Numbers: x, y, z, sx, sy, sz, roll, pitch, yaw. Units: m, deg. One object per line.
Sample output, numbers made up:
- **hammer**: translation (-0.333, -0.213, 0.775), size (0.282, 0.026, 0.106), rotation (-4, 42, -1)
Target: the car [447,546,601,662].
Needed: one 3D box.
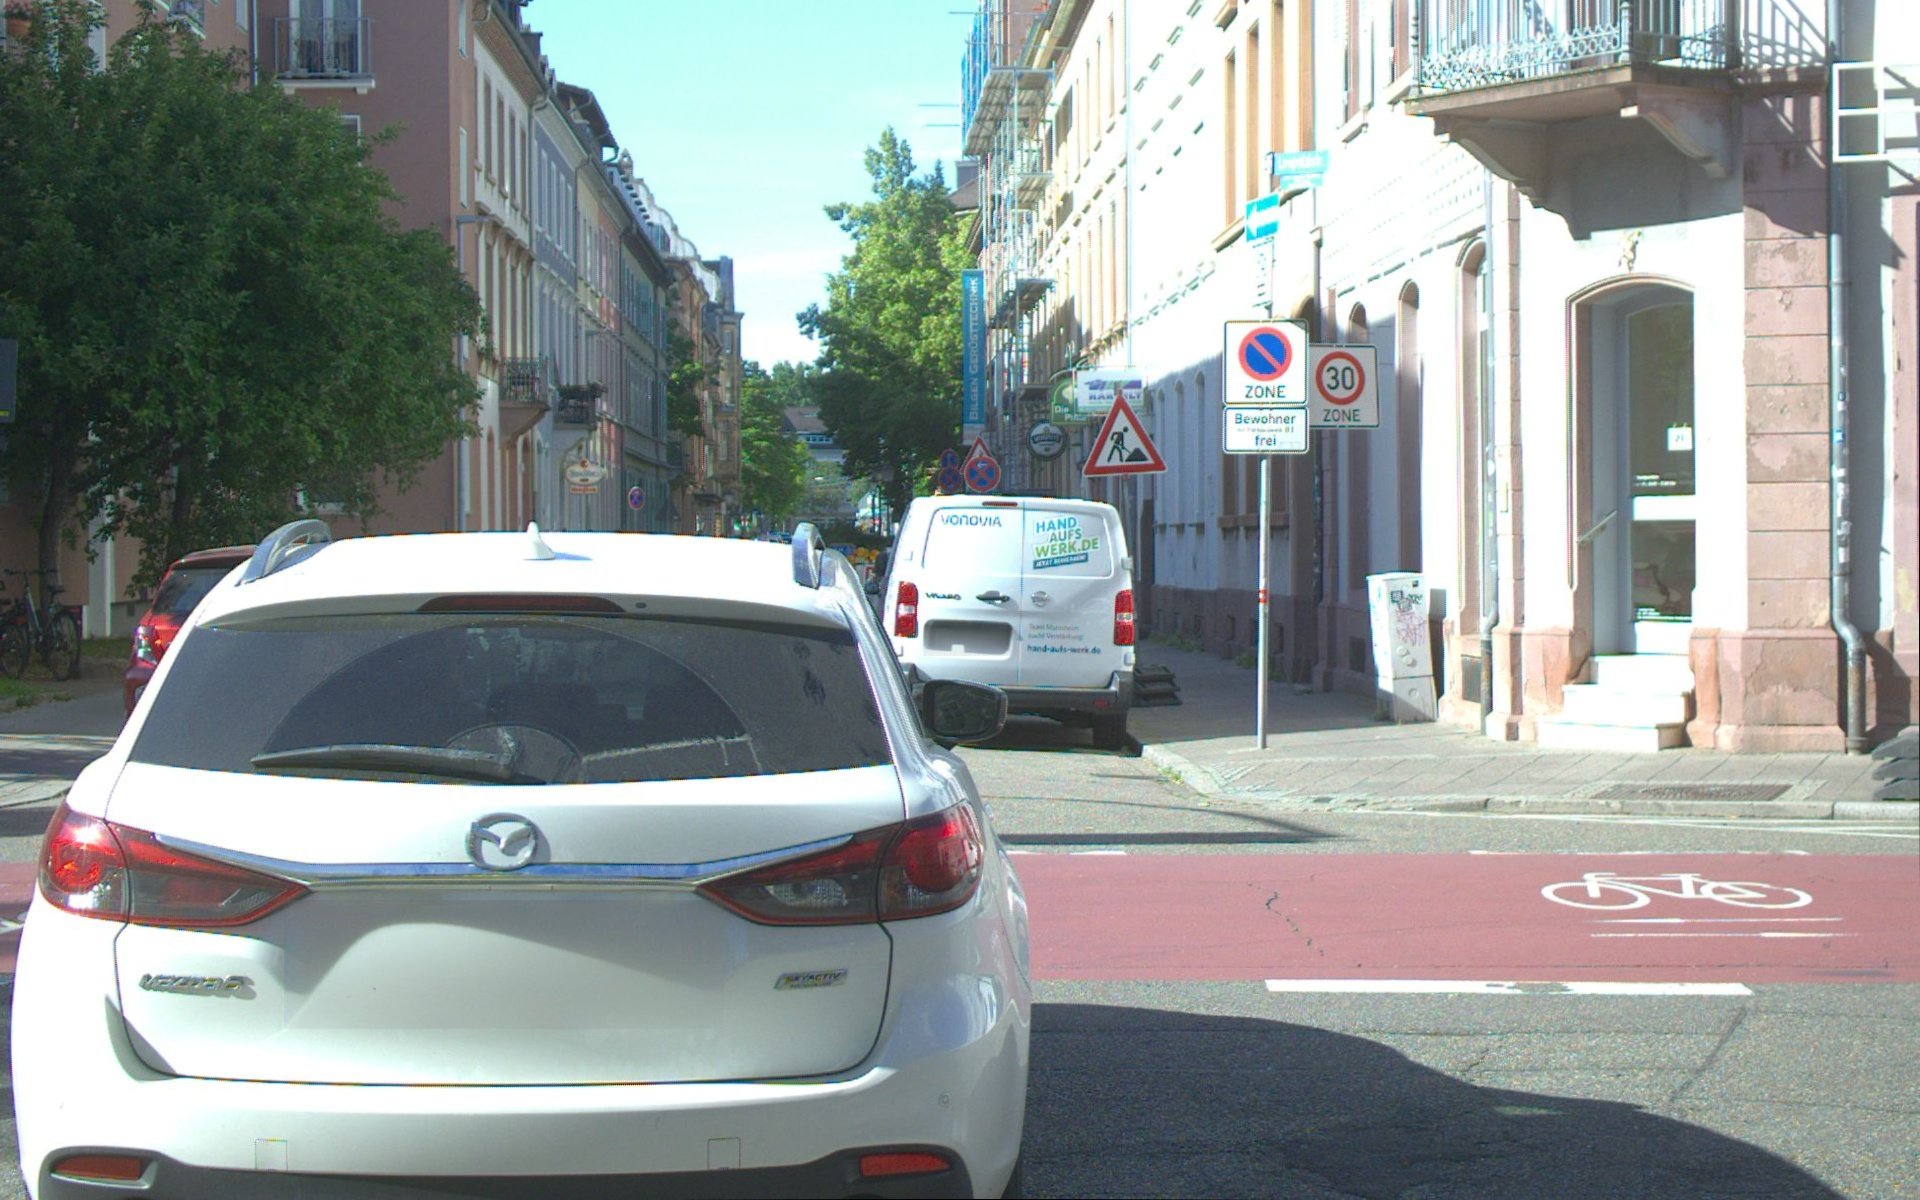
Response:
- **car**: translation (-5.826, 0.022, 46.290), size (1.653, 1.495, 3.763), rotation (0, 1, -1)

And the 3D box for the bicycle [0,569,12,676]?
- **bicycle**: translation (-10.088, 0.223, 34.829), size (1.215, 1.067, 0.253), rotation (1, 1, 38)

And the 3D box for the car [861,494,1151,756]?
- **car**: translation (0.268, 0.140, 27.662), size (1.894, 1.853, 5.015), rotation (2, 1, -4)

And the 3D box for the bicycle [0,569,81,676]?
- **bicycle**: translation (-9.478, 0.225, 35.153), size (1.218, 1.068, 0.253), rotation (1, 1, 38)

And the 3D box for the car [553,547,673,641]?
- **car**: translation (-5.648, -0.124, 56.292), size (1.653, 1.495, 3.763), rotation (0, 1, -1)

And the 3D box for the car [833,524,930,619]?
- **car**: translation (-1.552, -0.588, 68.794), size (1.894, 1.853, 3.995), rotation (0, 1, -1)

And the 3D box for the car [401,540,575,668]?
- **car**: translation (-5.696, 0.015, 41.875), size (1.653, 1.495, 3.763), rotation (0, 1, -1)

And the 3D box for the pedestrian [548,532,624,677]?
- **pedestrian**: translation (-4.213, 0.045, 38.708), size (0.733, 1.608, 0.816), rotation (-1, 1, -13)

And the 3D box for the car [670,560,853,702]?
- **car**: translation (-2.052, 0.289, 36.610), size (1.760, 1.405, 4.328), rotation (0, 1, -1)

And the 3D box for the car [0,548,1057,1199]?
- **car**: translation (-0.800, 0.621, 7.293), size (1.831, 1.452, 3.962), rotation (0, 1, -1)

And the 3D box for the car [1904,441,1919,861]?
- **car**: translation (7.067, 0.235, 15.914), size (5.014, 1.939, 2.049), rotation (0, 1, 21)

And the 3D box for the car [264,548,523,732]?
- **car**: translation (-4.880, 0.296, 30.096), size (1.653, 1.495, 4.080), rotation (0, 1, -1)

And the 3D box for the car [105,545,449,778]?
- **car**: translation (-4.658, 0.364, 23.926), size (1.685, 1.495, 3.807), rotation (0, 1, -1)

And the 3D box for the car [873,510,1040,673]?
- **car**: translation (-0.070, -0.129, 41.206), size (1.894, 1.853, 3.995), rotation (0, 1, -1)

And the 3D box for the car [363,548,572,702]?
- **car**: translation (-4.986, 0.214, 35.190), size (1.653, 1.495, 3.763), rotation (0, 1, -1)

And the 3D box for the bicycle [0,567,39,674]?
- **bicycle**: translation (-9.882, 0.203, 35.072), size (1.215, 1.068, 0.253), rotation (1, 1, 38)
